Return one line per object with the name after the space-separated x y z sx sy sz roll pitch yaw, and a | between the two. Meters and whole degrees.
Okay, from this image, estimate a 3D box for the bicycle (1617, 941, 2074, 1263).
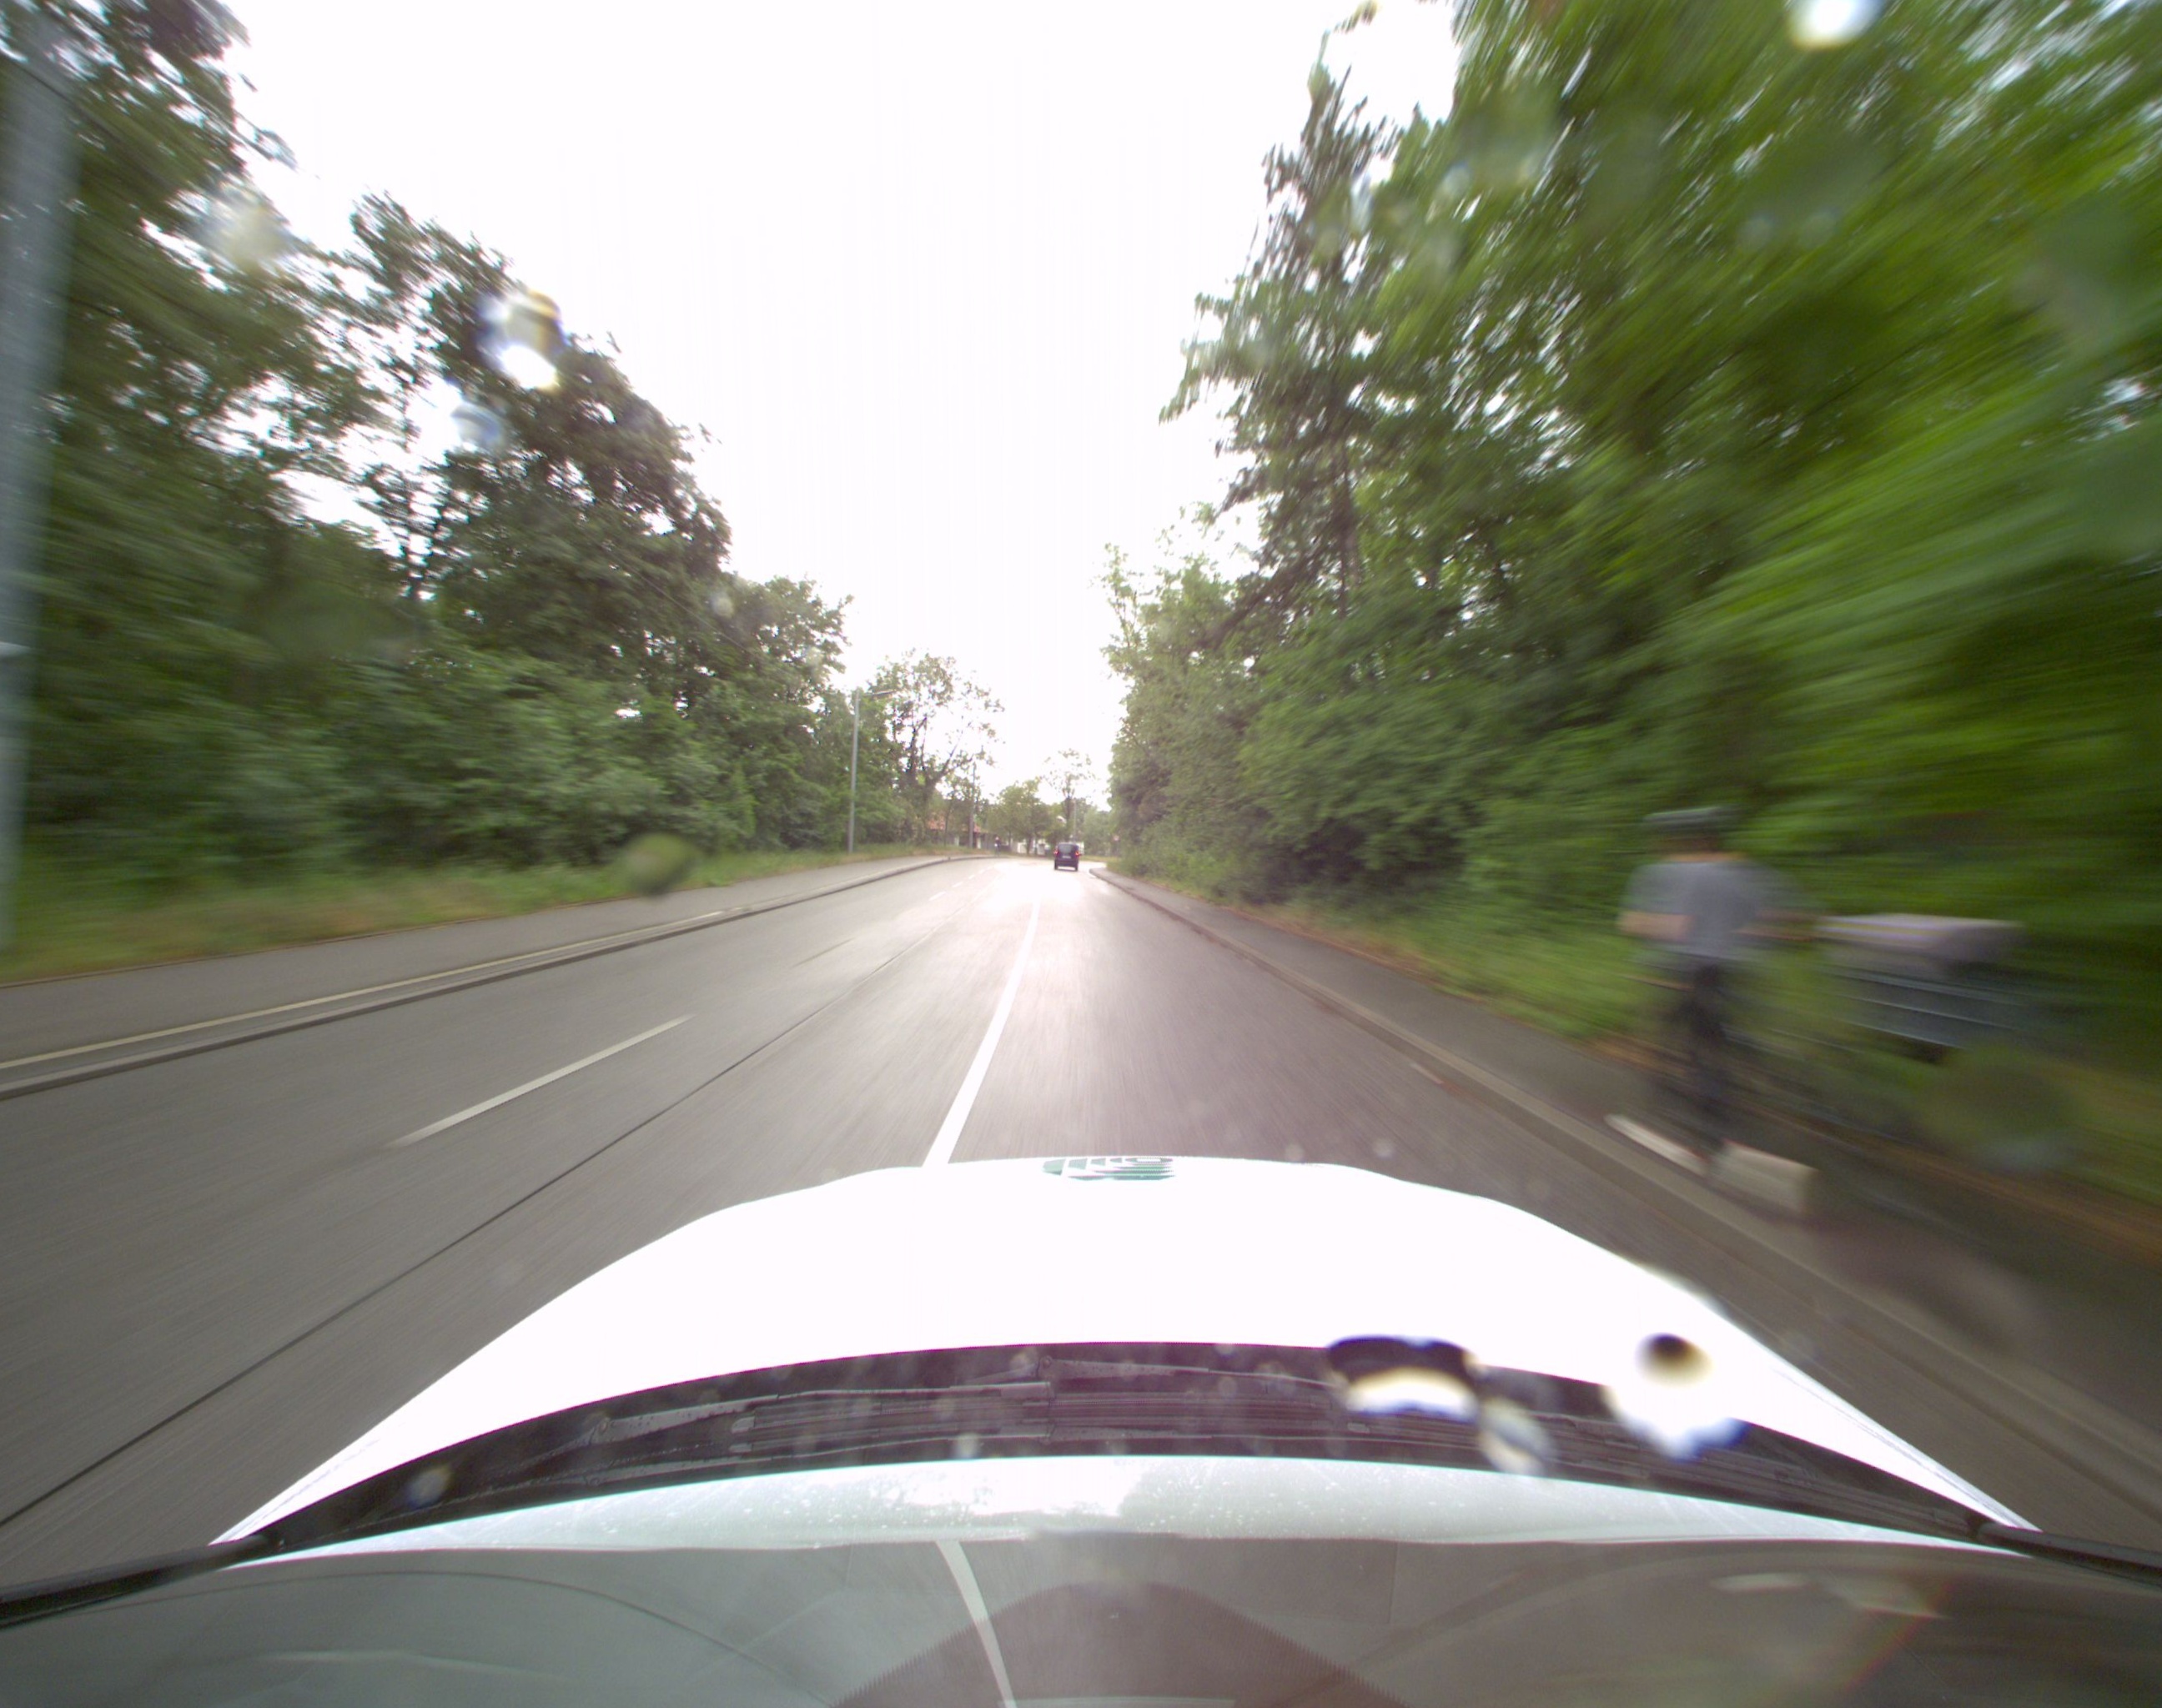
3.101 0.913 3.564 0.354 0.849 1.743 -3 0 1 | bicycle

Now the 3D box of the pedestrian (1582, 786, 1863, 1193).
2.734 0.537 3.565 0.562 1.577 0.770 0 -3 1 | pedestrian

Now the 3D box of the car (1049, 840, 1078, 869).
-1.239 0.069 55.945 1.824 1.794 3.993 -1 -2 -4 | car

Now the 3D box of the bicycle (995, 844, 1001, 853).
-7.858 -0.533 77.213 0.354 0.849 2.094 2 1 1 | bicycle

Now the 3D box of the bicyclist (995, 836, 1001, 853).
-7.849 -0.907 77.169 0.335 1.574 1.298 1 0 1 | bicyclist
